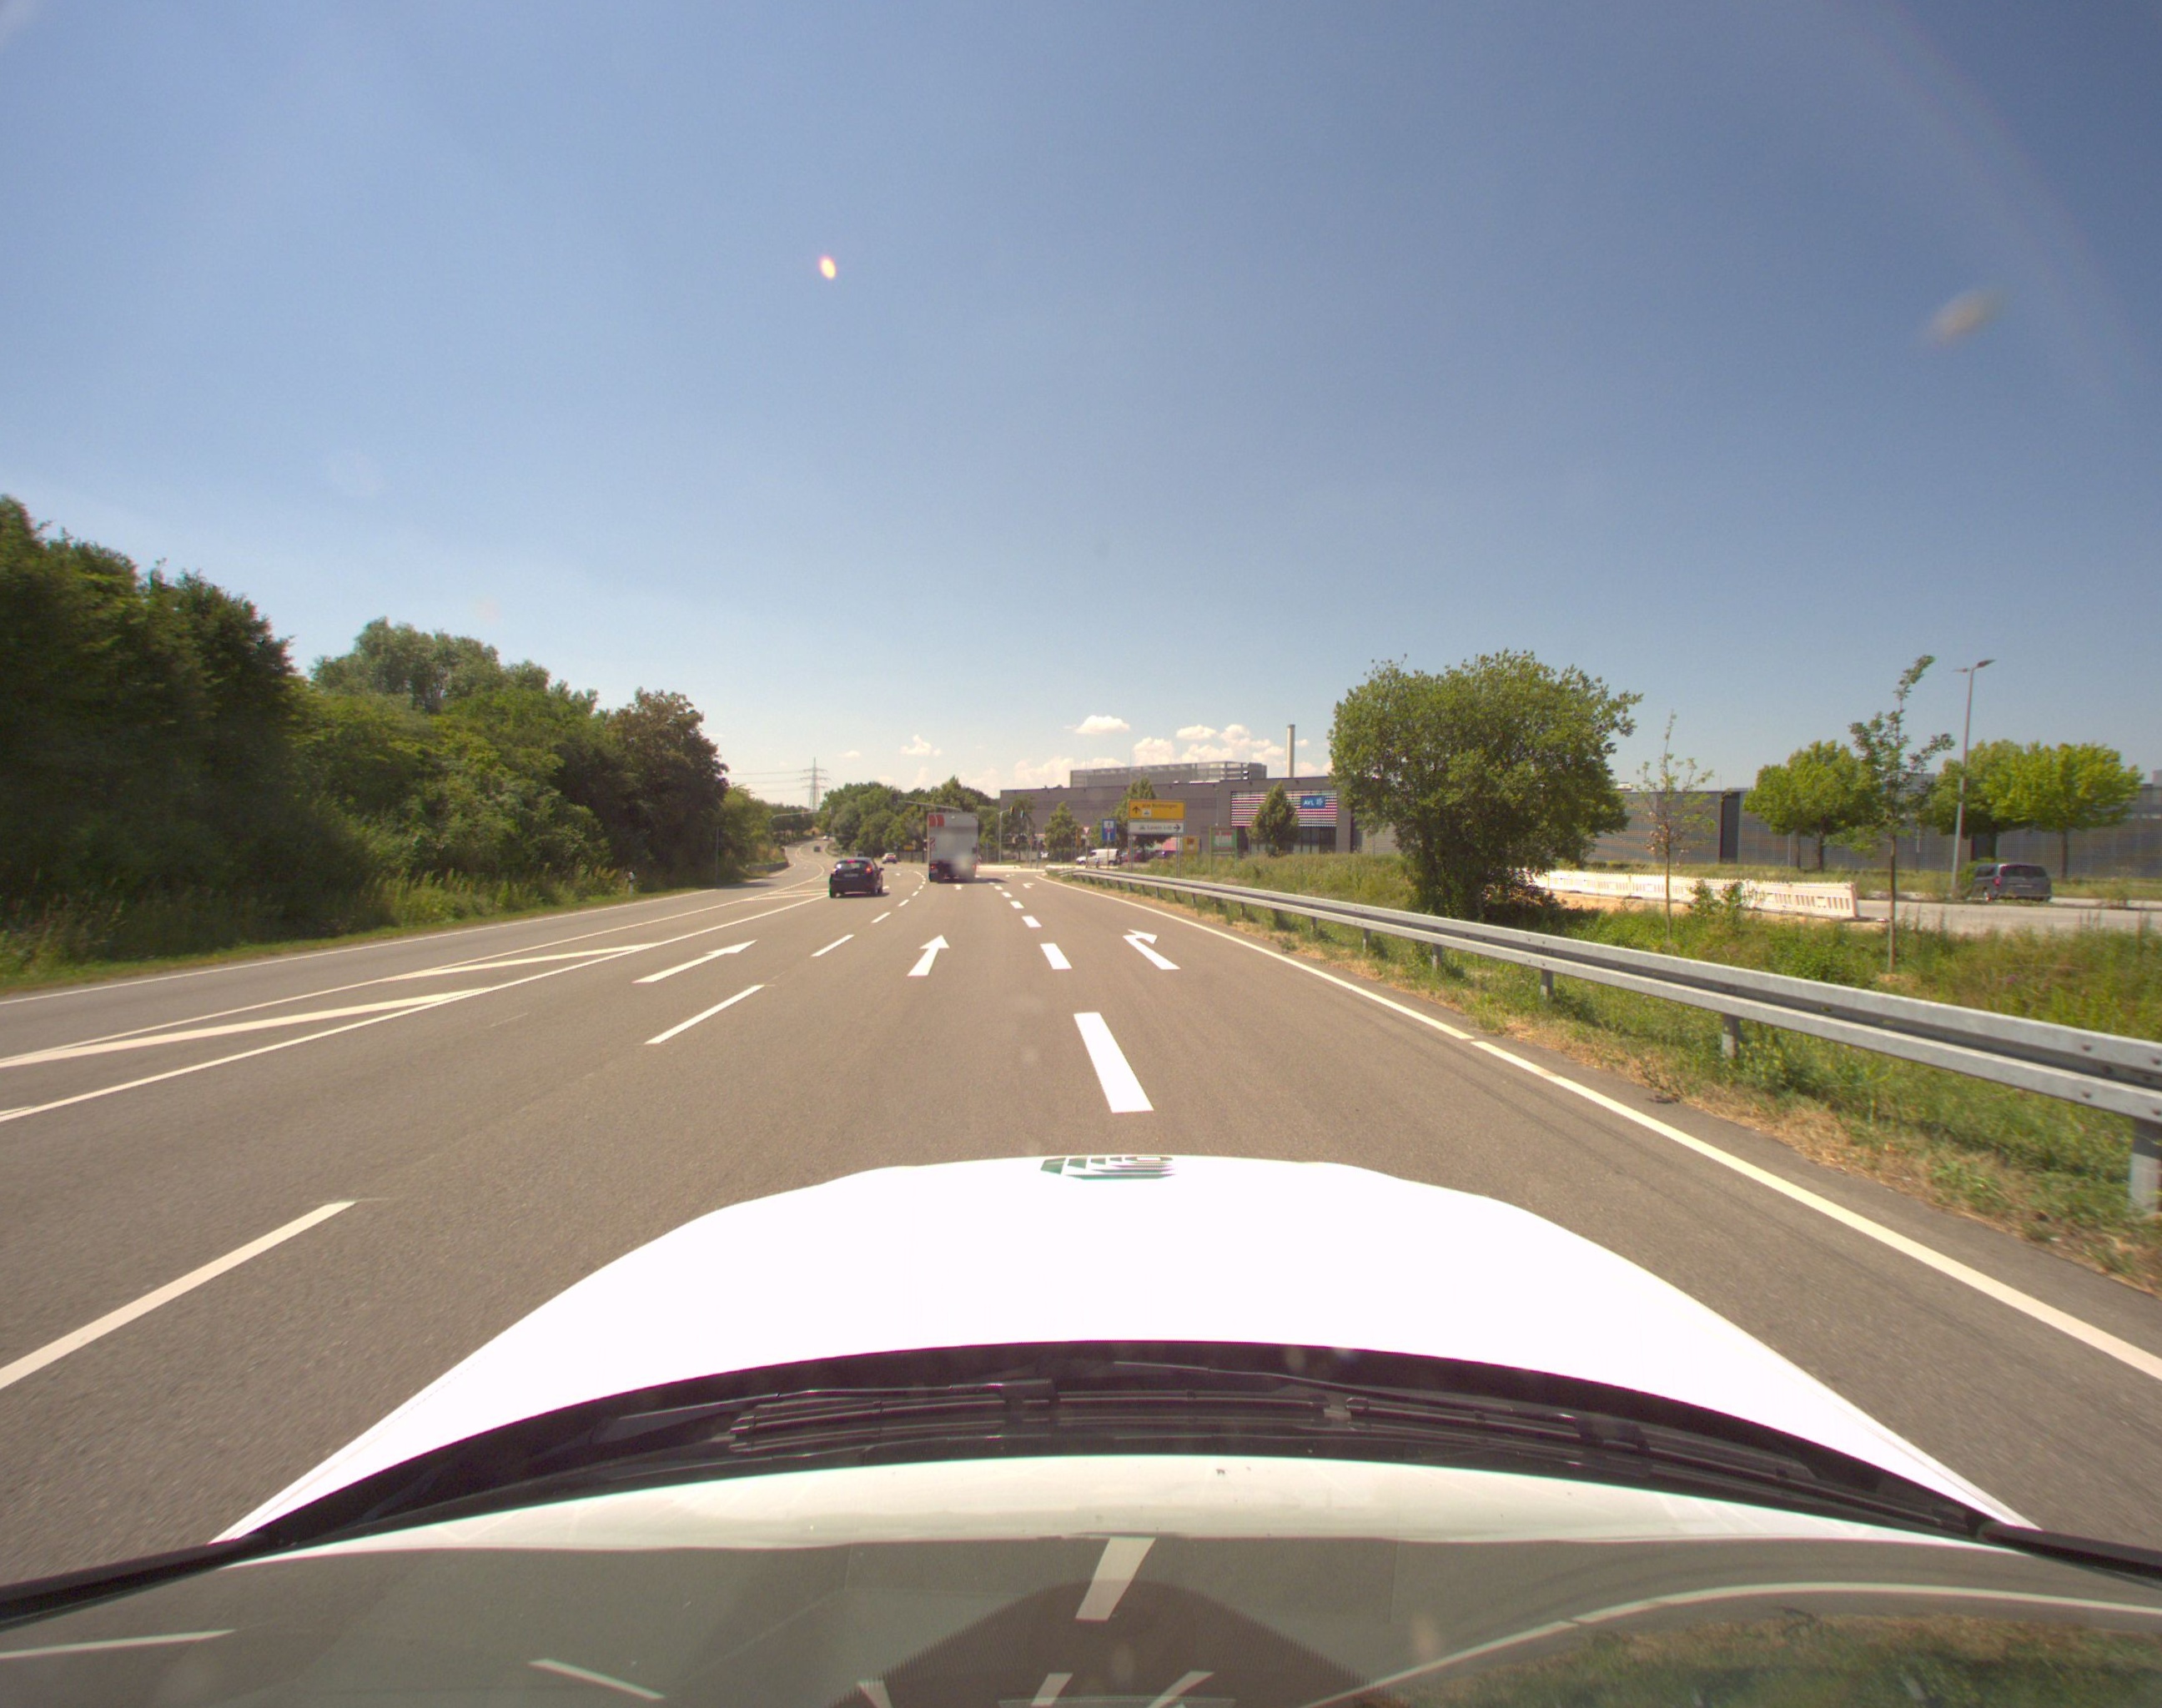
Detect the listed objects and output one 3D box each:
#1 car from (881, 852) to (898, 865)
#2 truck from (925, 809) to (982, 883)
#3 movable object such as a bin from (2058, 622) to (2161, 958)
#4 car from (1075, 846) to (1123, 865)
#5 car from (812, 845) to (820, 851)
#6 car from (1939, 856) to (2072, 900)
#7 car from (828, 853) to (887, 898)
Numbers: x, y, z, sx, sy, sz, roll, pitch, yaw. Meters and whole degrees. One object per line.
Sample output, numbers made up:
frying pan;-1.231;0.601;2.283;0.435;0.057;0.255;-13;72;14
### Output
car;-27.557;0.609;117.040;1.950;1.664;3.974;2;0;-20
truck;-7.224;-0.491;45.830;2.803;3.710;9.078;0;1;-10
movable object such as a bin;18.913;-0.805;9.462;3.419;5.259;9.215;1;3;-5
car;1.957;0.178;86.646;4.712;1.932;2.161;-1;0;13
car;-76.551;-1.688;235.635;1.997;1.684;3.980;-1;0;-15
car;41.264;1.000;36.569;2.076;1.816;5.375;1;0;26
car;-8.559;0.774;31.428;1.652;1.493;4.197;0;2;-8
